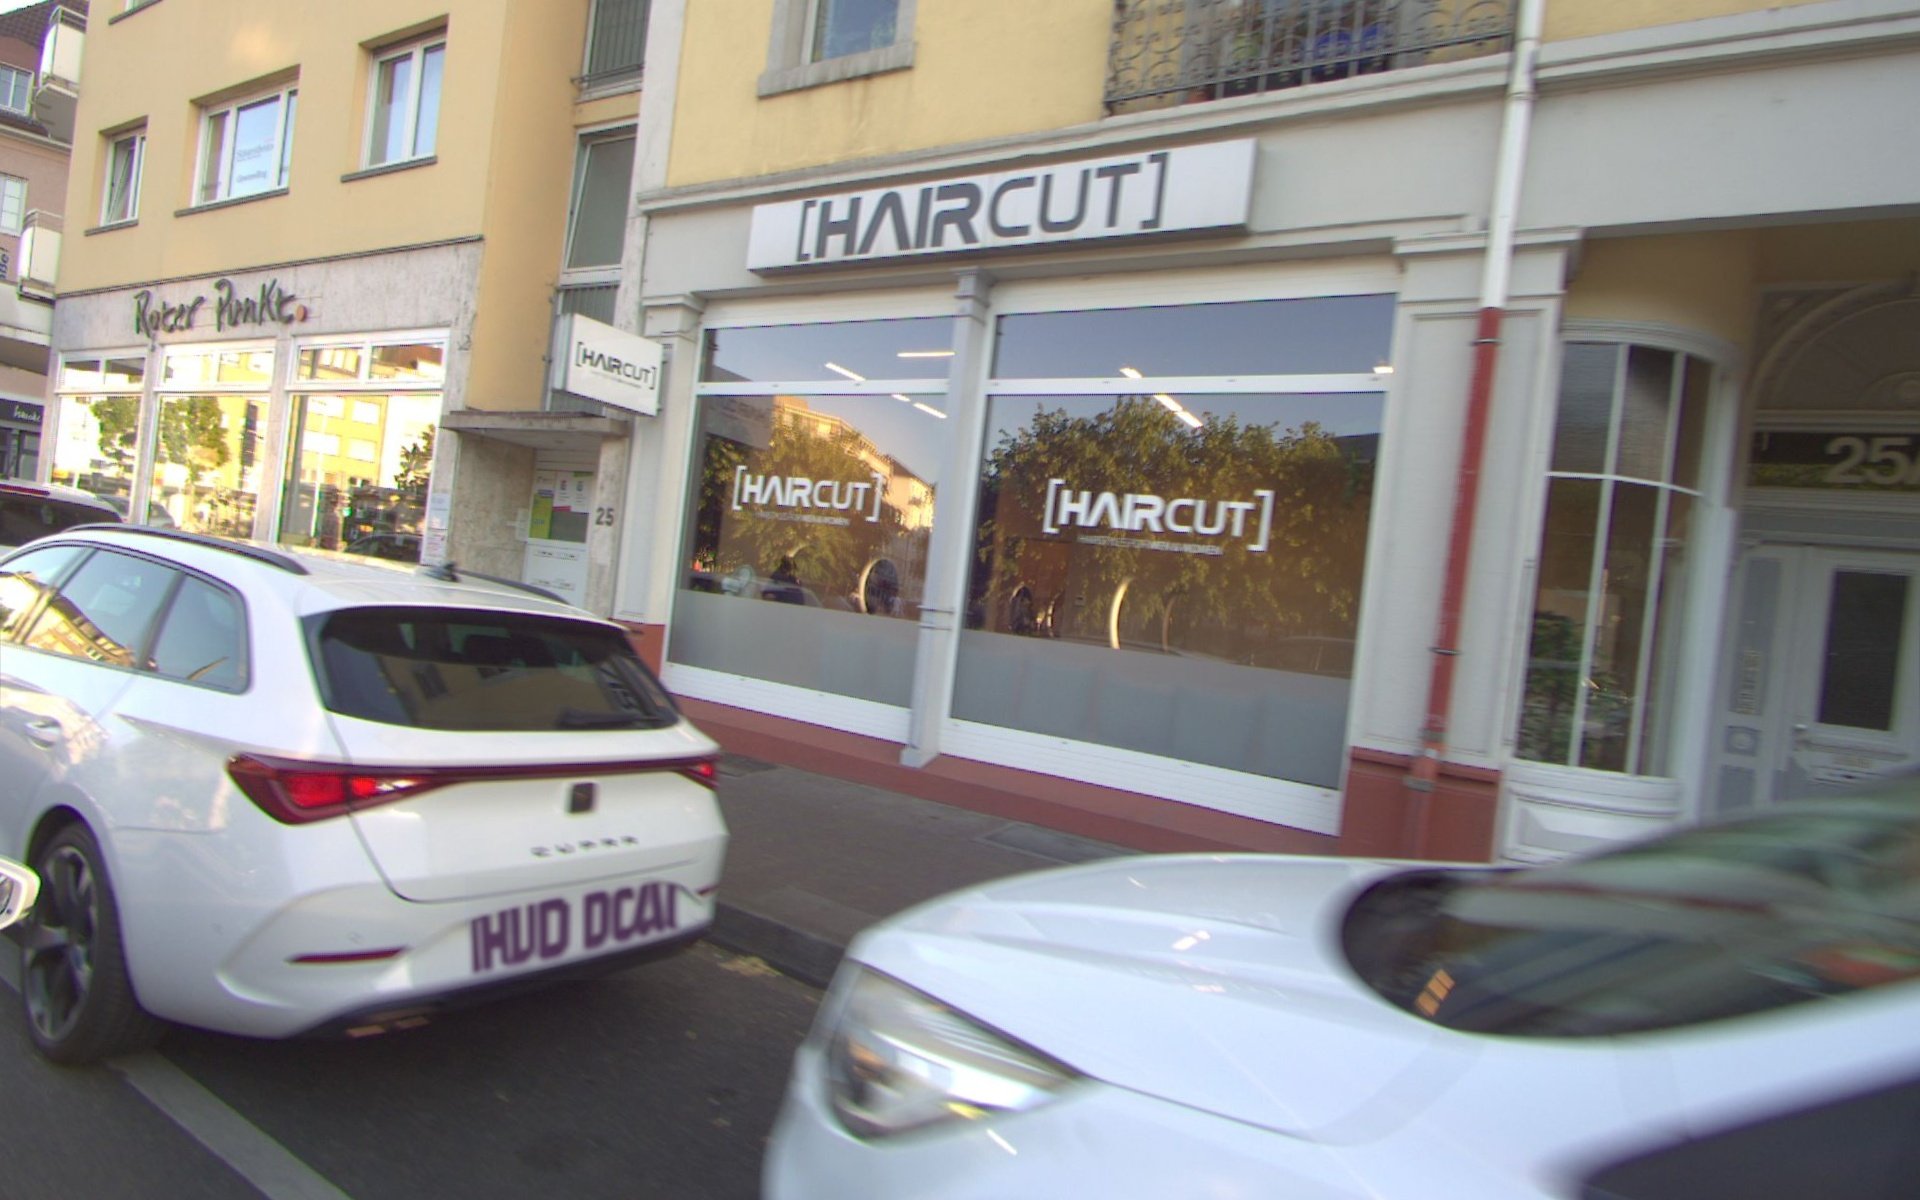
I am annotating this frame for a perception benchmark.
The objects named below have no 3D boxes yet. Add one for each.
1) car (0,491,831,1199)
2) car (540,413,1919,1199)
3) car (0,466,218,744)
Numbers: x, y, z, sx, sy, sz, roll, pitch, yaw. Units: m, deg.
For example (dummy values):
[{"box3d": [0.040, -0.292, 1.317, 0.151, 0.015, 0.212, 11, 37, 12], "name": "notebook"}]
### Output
[{"box3d": [-2.900, 0.437, 4.011, 4.534, 1.474, 1.736, 7, -1, 32], "name": "car"}, {"box3d": [1.773, 0.895, 1.018, 4.356, 1.694, 1.875, 7, -1, 32], "name": "car"}, {"box3d": [-7.334, -0.162, 7.130, 4.133, 1.640, 1.820, 7, -1, 32], "name": "car"}]
